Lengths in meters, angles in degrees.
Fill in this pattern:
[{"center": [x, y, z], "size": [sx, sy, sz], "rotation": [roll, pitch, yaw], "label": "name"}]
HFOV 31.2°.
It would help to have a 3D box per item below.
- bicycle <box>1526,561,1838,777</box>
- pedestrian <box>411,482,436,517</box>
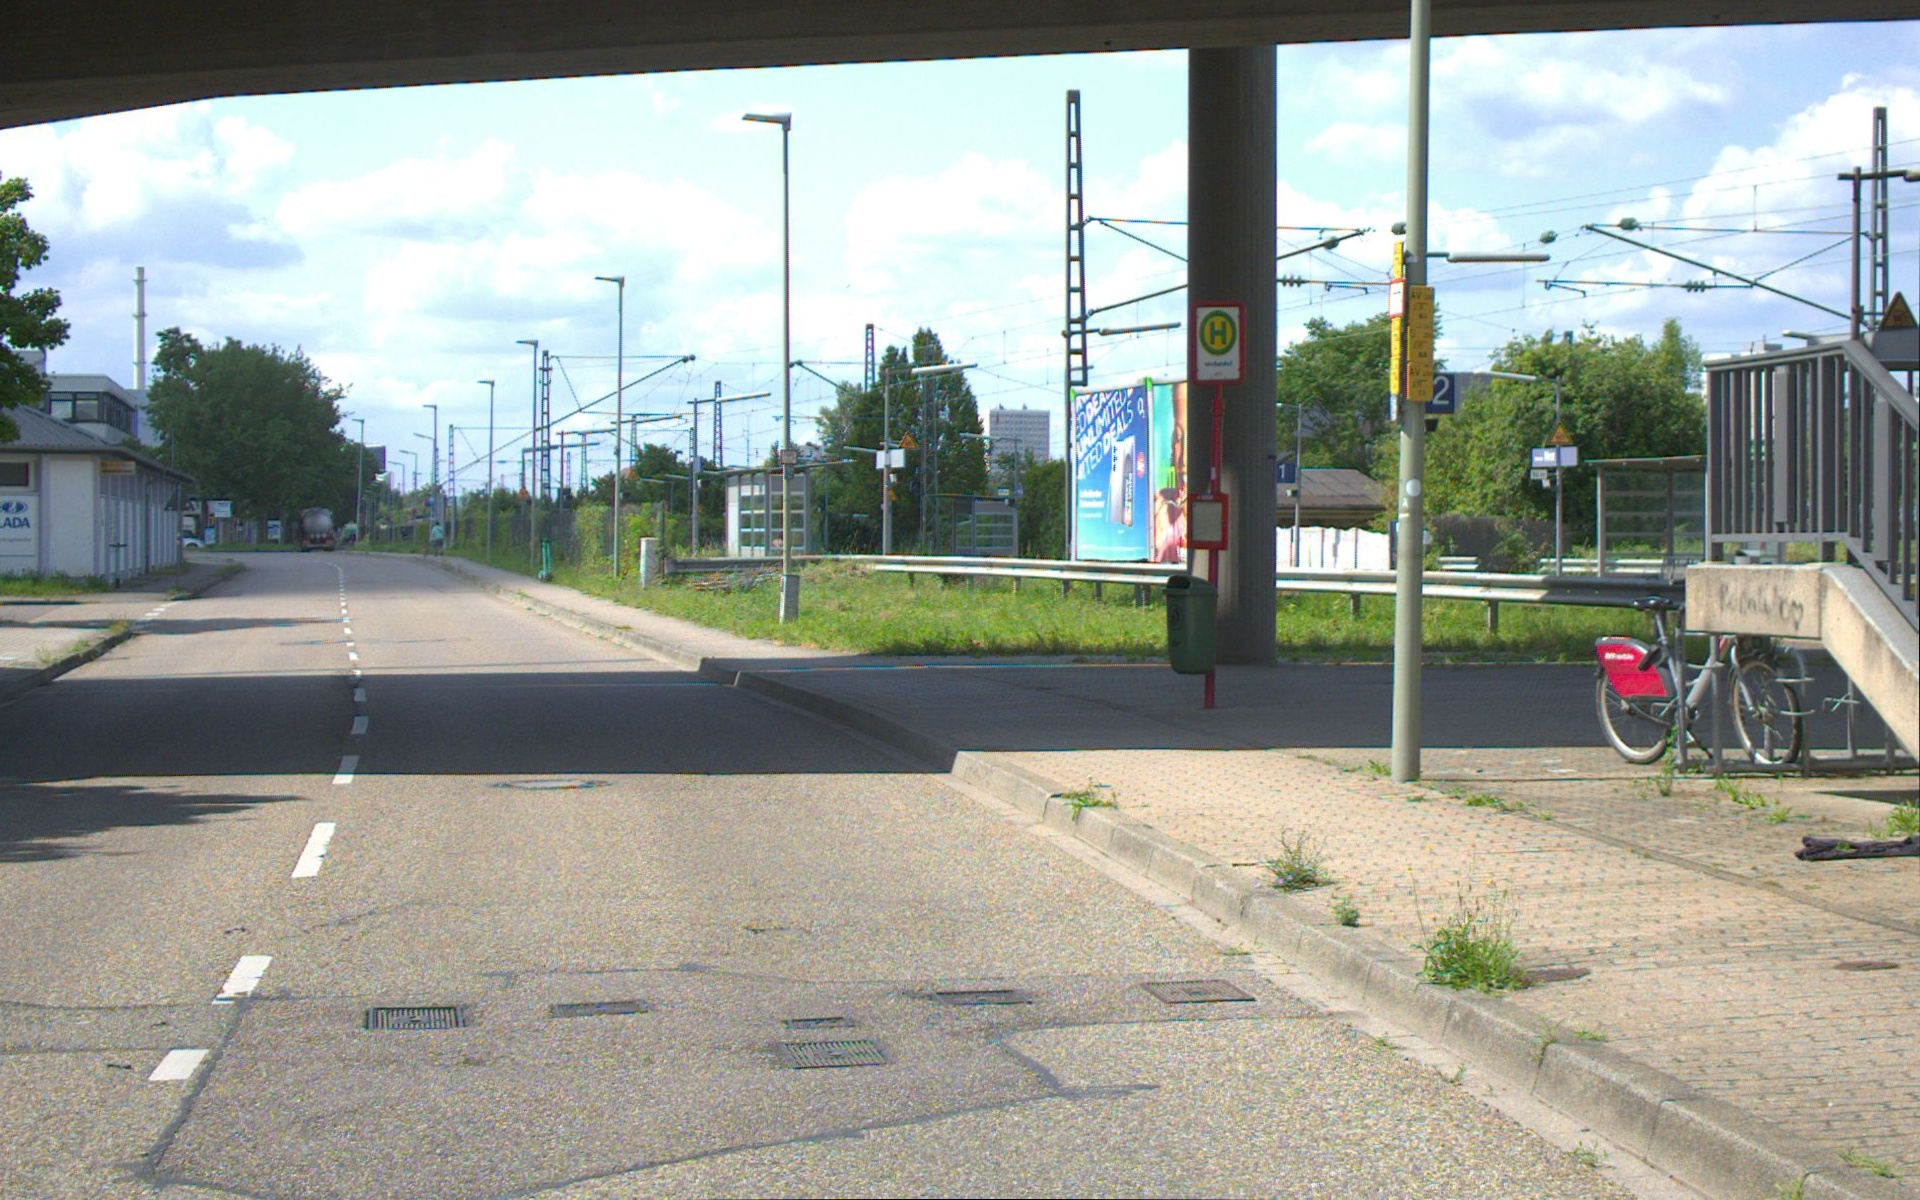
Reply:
[{"center": [3.959, 0.349, 19.055], "size": [0.642, 1.104, 2.192], "rotation": [-1, 1, -19], "label": "bicycle"}, {"center": [-31.538, -5.900, 202.062], "size": [0.850, 2.007, 1.057], "rotation": [3, 2, 40], "label": "pedestrian"}]
